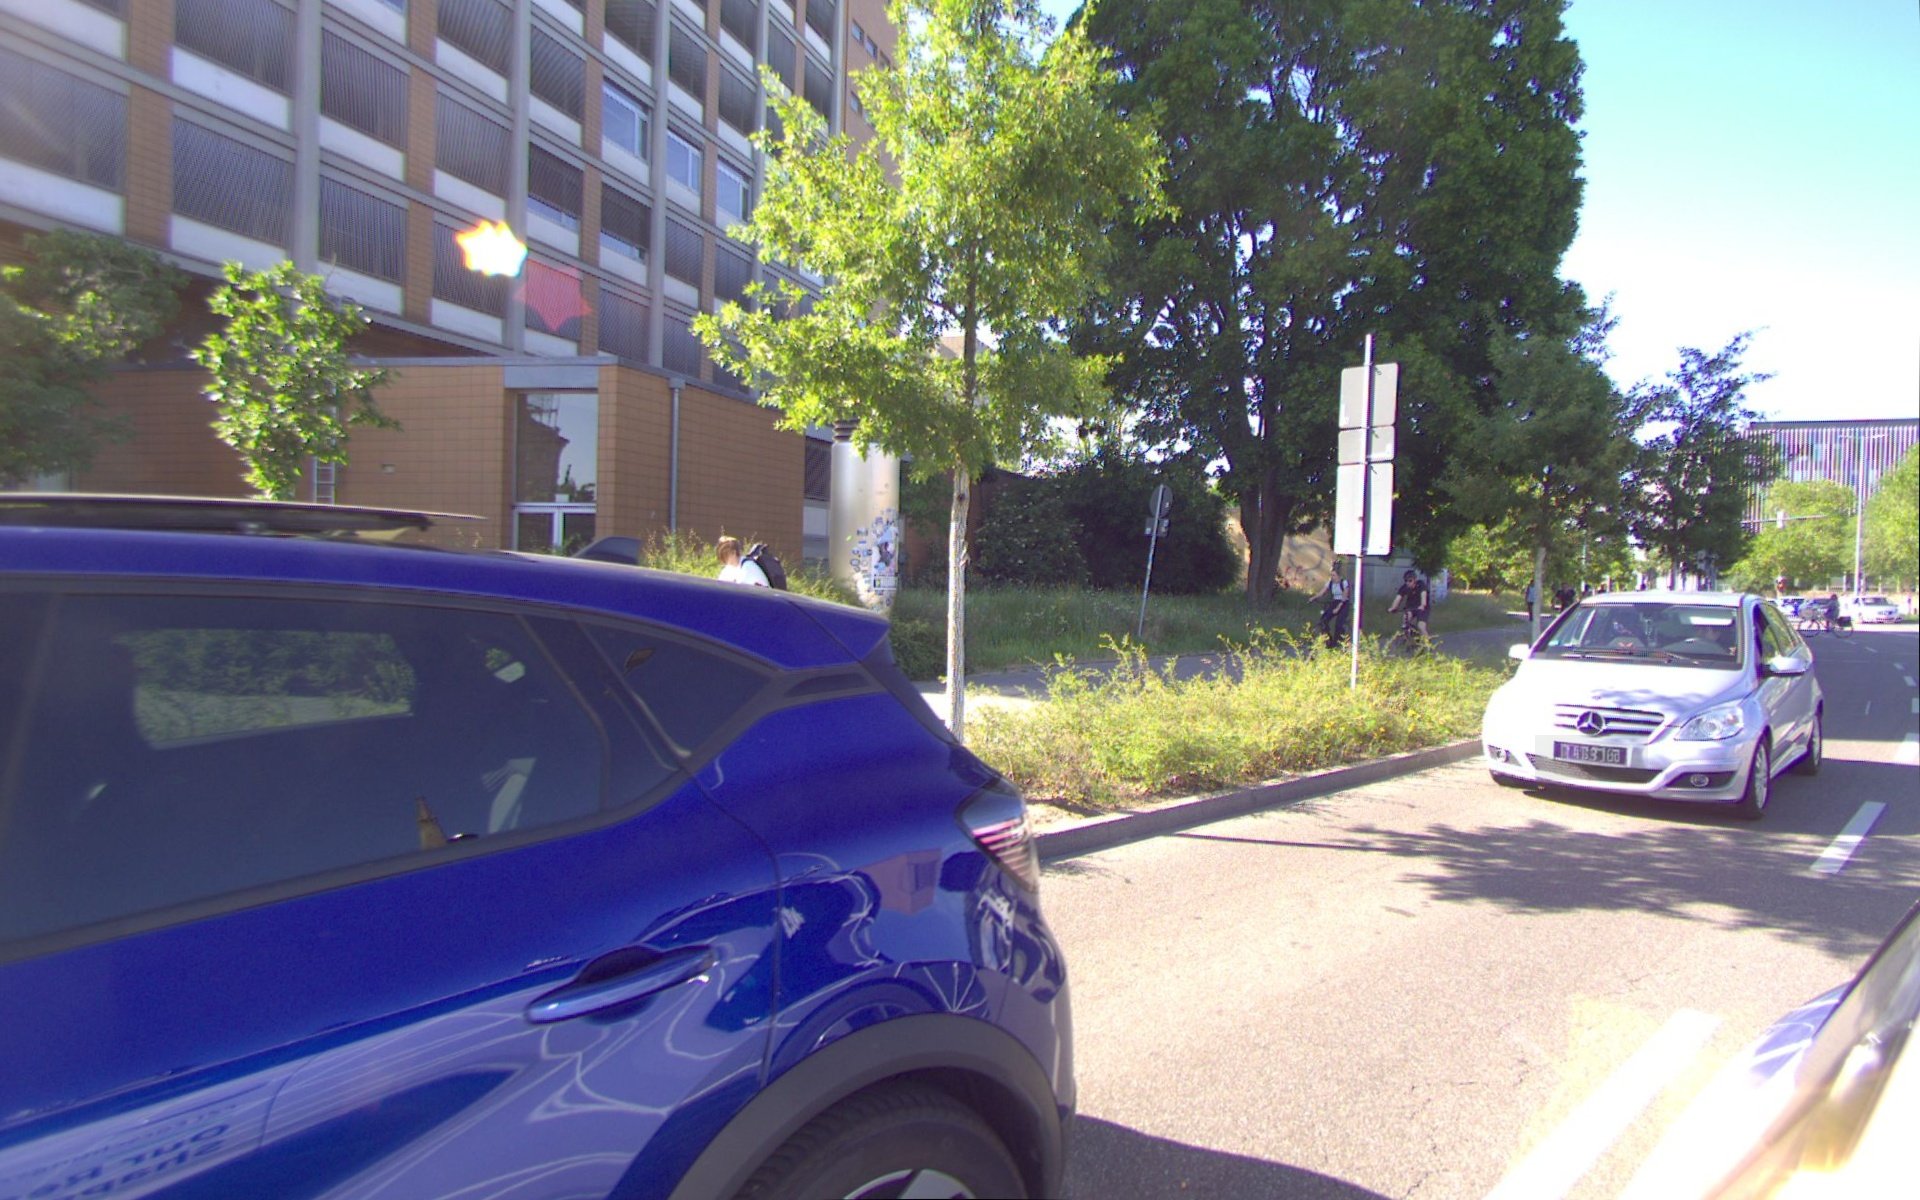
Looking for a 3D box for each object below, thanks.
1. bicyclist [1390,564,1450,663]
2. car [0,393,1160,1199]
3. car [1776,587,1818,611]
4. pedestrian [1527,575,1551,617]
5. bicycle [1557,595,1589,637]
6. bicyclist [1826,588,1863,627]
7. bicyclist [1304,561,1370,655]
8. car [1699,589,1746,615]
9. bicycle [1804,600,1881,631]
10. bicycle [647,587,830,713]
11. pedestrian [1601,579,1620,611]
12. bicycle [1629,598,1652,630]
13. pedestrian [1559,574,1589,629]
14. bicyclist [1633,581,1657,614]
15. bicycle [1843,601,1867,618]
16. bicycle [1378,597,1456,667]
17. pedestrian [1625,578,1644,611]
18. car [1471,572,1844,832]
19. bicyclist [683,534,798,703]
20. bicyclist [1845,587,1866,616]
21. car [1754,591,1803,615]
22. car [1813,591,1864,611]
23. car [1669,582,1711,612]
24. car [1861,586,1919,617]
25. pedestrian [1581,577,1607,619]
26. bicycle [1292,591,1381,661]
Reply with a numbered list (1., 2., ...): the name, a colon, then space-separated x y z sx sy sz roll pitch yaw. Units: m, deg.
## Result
1. bicyclist: 7.998 0.220 17.589 0.626 1.658 0.979 2 1 44
2. car: -1.712 0.610 1.300 4.010 1.626 1.704 0 1 -39
3. car: 59.639 -0.062 72.147 1.580 1.625 3.045 2 1 25
4. pedestrian: 22.676 -0.155 39.625 0.685 1.624 0.657 2 1 21
5. bicycle: 16.629 0.417 27.423 0.515 1.057 1.744 4 3 37
6. bicyclist: 34.568 0.290 39.562 0.838 1.492 0.759 1 1 23
7. bicyclist: 6.826 0.135 18.333 0.960 1.618 0.686 0 3 -42
8. car: 45.775 0.108 60.800 1.737 1.494 3.539 0 1 28
9. bicycle: 34.499 0.590 39.593 2.101 1.189 0.759 0 0 23
10. bicycle: -2.168 0.456 10.050 1.711 1.139 0.572 0 1 -43
11. pedestrian: 39.277 -0.311 61.097 0.812 1.941 0.766 0 0 22
12. bicycle: 27.952 0.558 41.544 0.688 1.232 1.812 4 3 34
13. pedestrian: 16.602 0.022 27.354 0.515 1.419 0.949 4 3 37
14. bicyclist: 28.057 -0.097 41.451 0.718 1.294 0.896 4 3 35
15. bicycle: 49.020 0.538 55.423 0.585 0.900 1.639 0 0 27
16. bicycle: 7.939 0.527 17.540 0.626 1.127 1.821 3 2 44
17. pedestrian: 40.286 -0.309 60.470 0.812 1.941 0.766 0 0 22
18. car: 5.947 0.633 8.438 3.975 1.645 1.783 0 1 -43
19. bicyclist: -2.173 0.167 10.034 0.931 1.588 0.572 0 1 -43
20. bicyclist: 48.989 0.069 55.381 0.689 1.578 0.808 0 0 28
21. car: 49.666 0.176 61.453 1.738 1.396 3.537 1 1 30
22. car: 57.033 0.041 65.772 1.570 1.219 3.962 1 1 27
23. car: 48.254 -0.209 66.969 1.813 1.876 3.713 2 1 29
24. car: 53.025 0.083 57.749 1.510 1.700 3.350 1 0 26
25. pedestrian: 24.898 -0.092 39.747 0.685 1.624 0.657 2 1 21
26. bicycle: 6.849 0.445 18.383 1.851 1.178 0.686 0 3 -42
